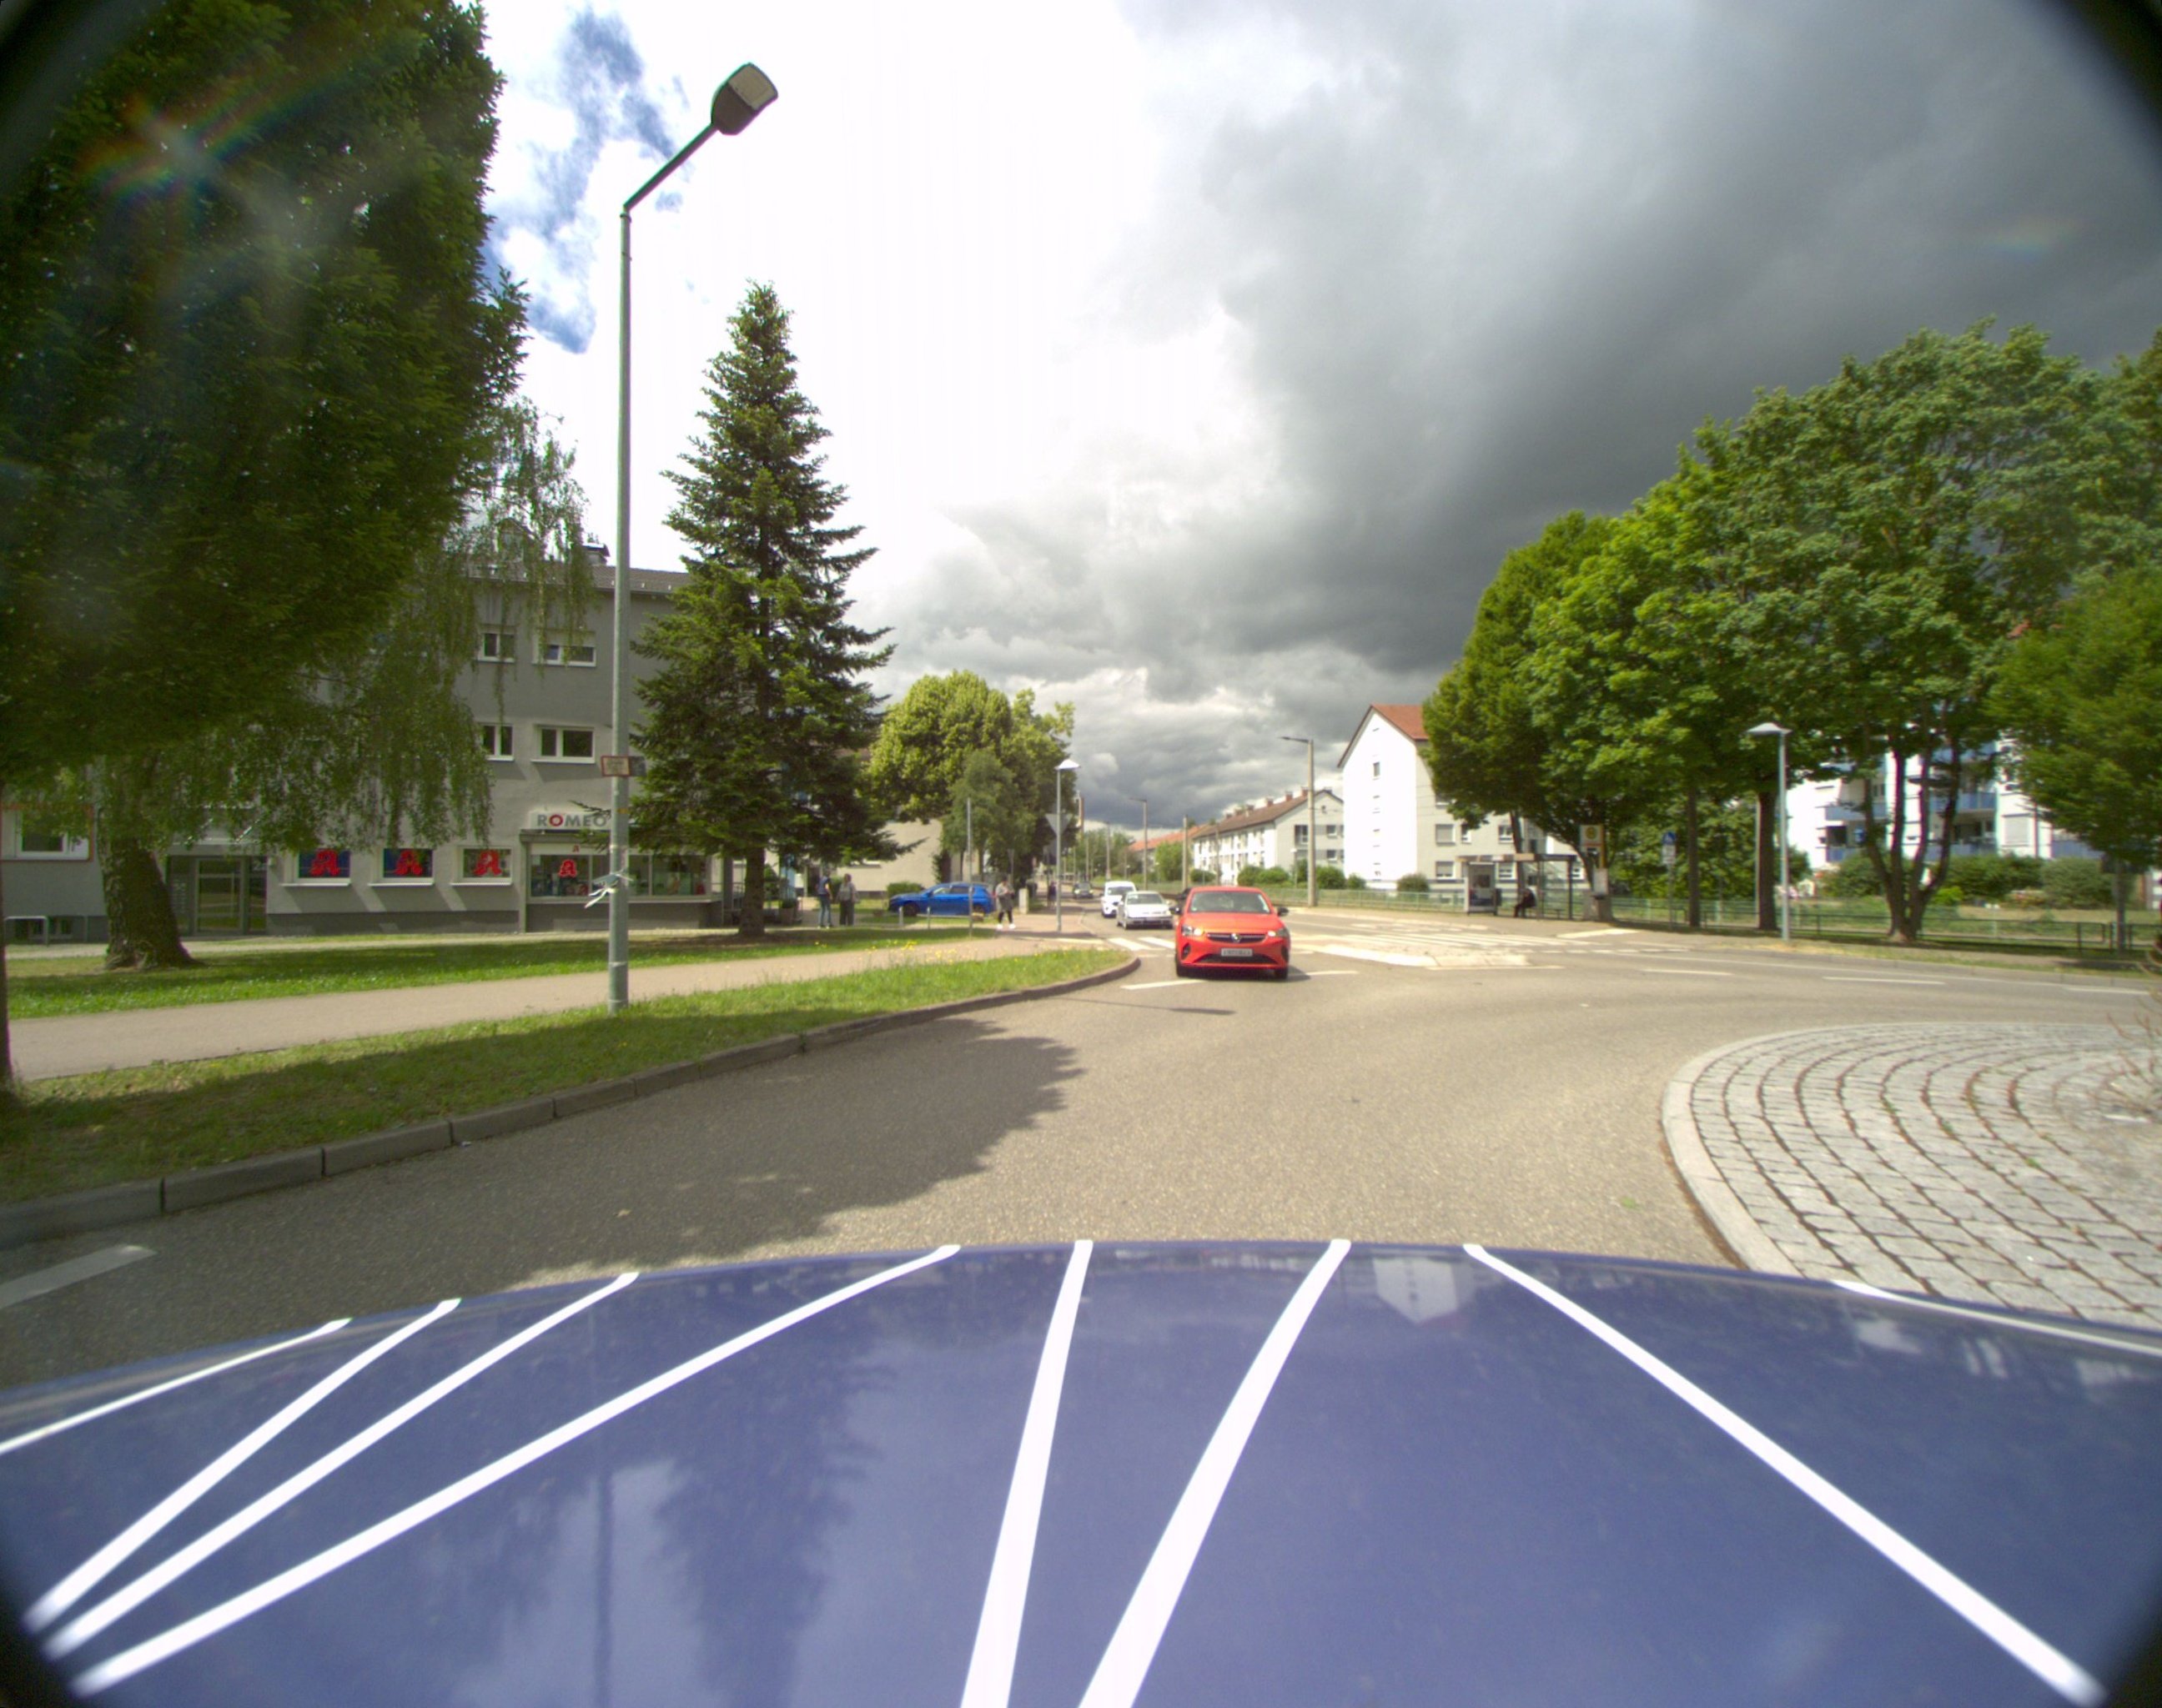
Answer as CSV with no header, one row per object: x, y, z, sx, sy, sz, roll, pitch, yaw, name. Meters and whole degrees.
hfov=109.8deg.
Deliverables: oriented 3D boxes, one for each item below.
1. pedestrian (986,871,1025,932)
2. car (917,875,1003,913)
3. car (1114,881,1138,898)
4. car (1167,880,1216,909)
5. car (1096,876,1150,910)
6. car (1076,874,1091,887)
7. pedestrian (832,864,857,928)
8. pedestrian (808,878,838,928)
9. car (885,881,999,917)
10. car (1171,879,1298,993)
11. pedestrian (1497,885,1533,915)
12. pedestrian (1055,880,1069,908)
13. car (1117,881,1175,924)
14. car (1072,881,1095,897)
-2.465,1.517,24.695,0.944,1.944,0.840,1,-1,-37,pedestrian
-5.615,1.835,35.076,3.743,1.547,2.030,3,-2,-12,car
3.881,3.117,66.527,1.822,1.375,4.619,1,-1,0,car
6.208,2.272,43.079,1.858,1.446,4.387,-1,-1,-4,car
2.055,1.926,38.104,2.000,1.597,3.998,1,-1,-7,car
0.366,3.674,106.121,1.999,1.517,4.523,3,1,-1,car
-7.467,1.313,24.015,0.656,2.001,1.046,1,-1,-14,pedestrian
-7.946,1.504,23.423,0.744,1.520,0.691,1,-1,-10,pedestrian
-5.832,1.871,31.697,4.500,1.236,1.998,3,-2,-14,car
2.457,1.225,12.861,1.764,1.548,4.003,1,-1,8,car
16.723,1.766,29.305,0.801,1.128,0.911,-1,-1,-8,pedestrian
-1.151,2.419,45.939,0.684,1.650,0.831,1,-1,-10,pedestrian
2.349,1.754,28.370,1.764,1.389,4.000,1,-1,-1,car
0.272,3.222,70.567,1.918,1.309,4.002,1,-1,3,car
